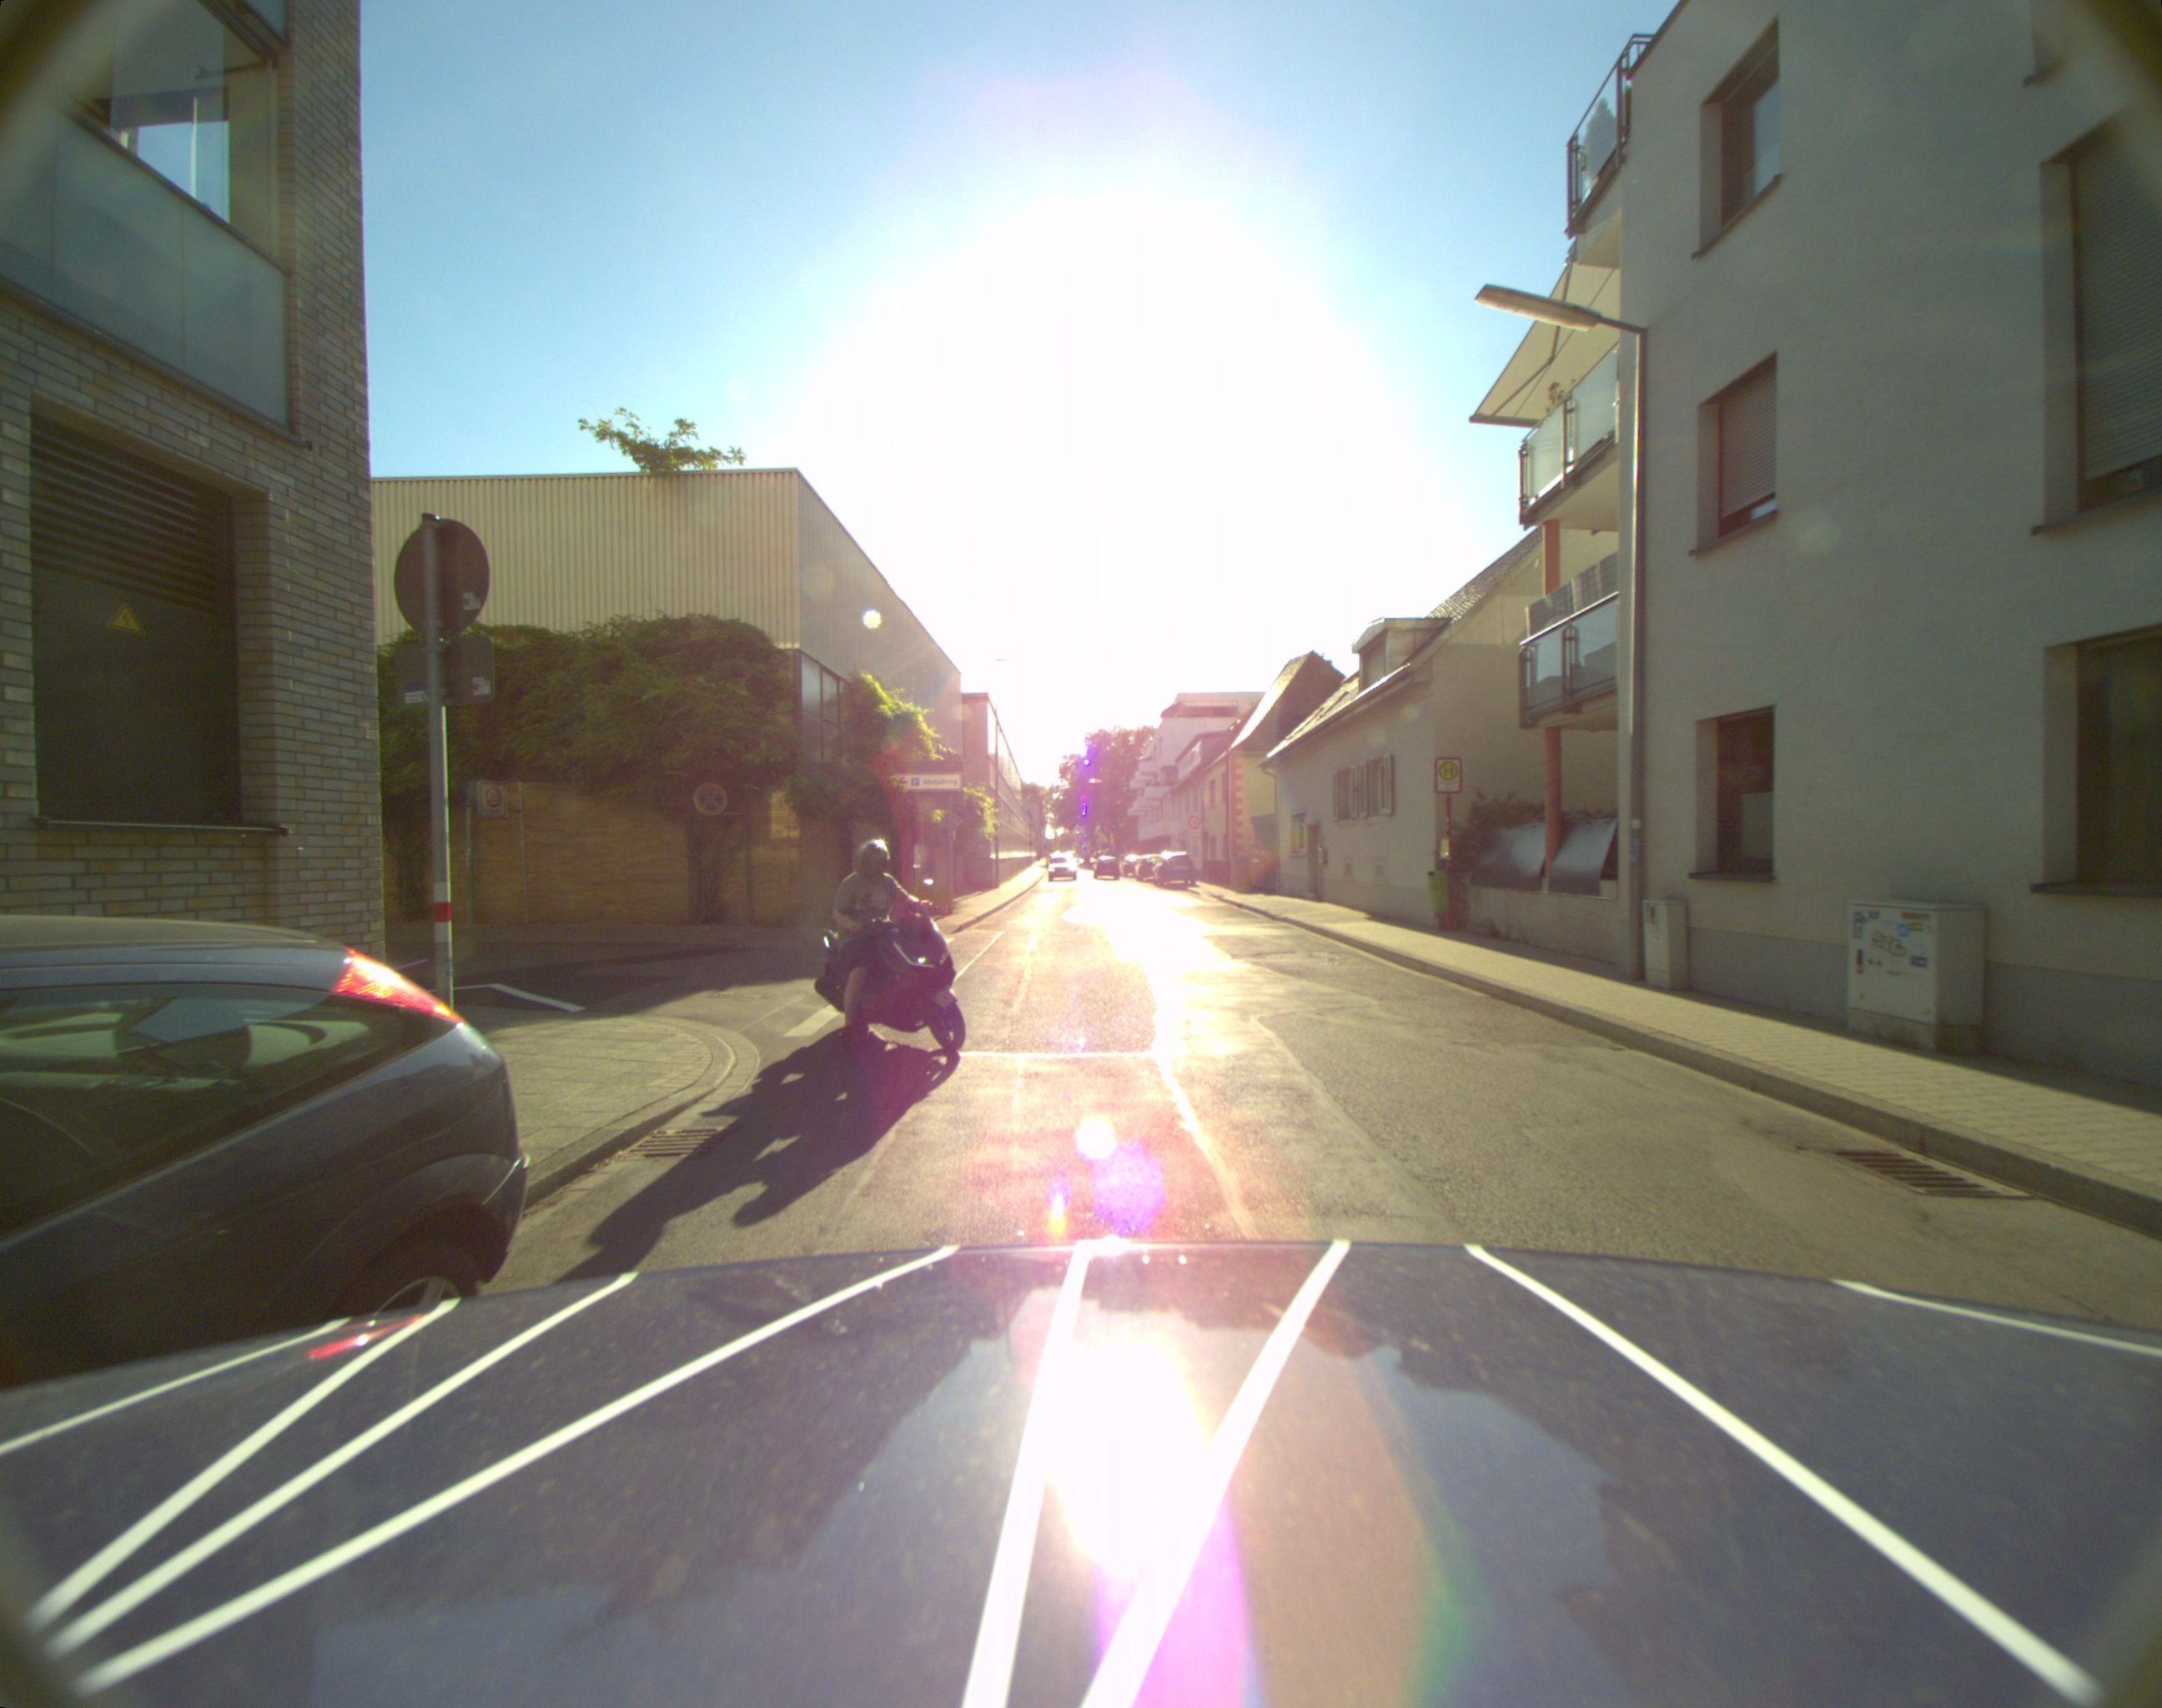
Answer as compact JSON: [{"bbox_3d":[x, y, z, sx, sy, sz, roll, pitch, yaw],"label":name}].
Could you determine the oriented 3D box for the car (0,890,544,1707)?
[{"bbox_3d":[-2.536,0.957,0.419,1.634,1.578,4.068,2,1,-1],"label":"car"}]

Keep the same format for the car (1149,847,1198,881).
[{"bbox_3d":[4.587,0.514,38.353,1.813,1.577,4.193,-2,-1,-1],"label":"car"}]

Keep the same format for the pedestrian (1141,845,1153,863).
[{"bbox_3d":[6.752,-0.017,77.694,0.862,1.808,1.133,-4,0,23],"label":"pedestrian"}]

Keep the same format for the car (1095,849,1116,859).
[{"bbox_3d":[5.039,-0.067,155.883,4.005,1.876,1.713,-2,1,-28],"label":"car"}]

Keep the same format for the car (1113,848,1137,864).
[{"bbox_3d":[4.600,0.207,79.862,1.863,1.578,4.619,-3,1,-4],"label":"car"}]

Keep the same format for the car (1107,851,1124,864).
[{"bbox_3d":[4.119,0.360,91.421,1.679,1.425,3.769,-2,1,-3],"label":"car"}]

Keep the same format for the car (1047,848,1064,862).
[{"bbox_3d":[-3.131,0.089,92.329,1.812,1.578,4.403,-3,1,-3],"label":"car"}]

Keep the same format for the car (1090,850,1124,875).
[{"bbox_3d":[1.675,0.518,50.519,1.847,1.482,4.142,1,1,-3],"label":"car"}]

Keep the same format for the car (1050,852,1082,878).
[{"bbox_3d":[-1.026,0.674,49.528,1.855,1.527,3.855,-3,1,-4],"label":"car"}]

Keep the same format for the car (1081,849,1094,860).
[{"bbox_3d":[1.010,0.106,115.824,1.846,1.482,4.144,4,1,1],"label":"car"}]

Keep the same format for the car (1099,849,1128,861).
[{"bbox_3d":[4.751,0.173,110.620,3.966,1.653,1.696,-2,1,-29],"label":"car"}]

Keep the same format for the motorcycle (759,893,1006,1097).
[{"bbox_3d":[-1.738,1.029,6.350,2.335,1.273,0.897,0,2,45],"label":"motorcycle"}]

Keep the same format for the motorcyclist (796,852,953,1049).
[{"bbox_3d":[-1.714,0.726,6.314,0.877,1.464,0.897,0,2,45],"label":"motorcyclist"}]

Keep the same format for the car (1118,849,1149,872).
[{"bbox_3d":[3.903,0.464,57.029,1.689,1.526,4.332,-3,1,-5],"label":"car"}]

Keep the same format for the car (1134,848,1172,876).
[{"bbox_3d":[4.375,0.467,47.059,1.862,1.577,4.335,-3,0,0],"label":"car"}]
